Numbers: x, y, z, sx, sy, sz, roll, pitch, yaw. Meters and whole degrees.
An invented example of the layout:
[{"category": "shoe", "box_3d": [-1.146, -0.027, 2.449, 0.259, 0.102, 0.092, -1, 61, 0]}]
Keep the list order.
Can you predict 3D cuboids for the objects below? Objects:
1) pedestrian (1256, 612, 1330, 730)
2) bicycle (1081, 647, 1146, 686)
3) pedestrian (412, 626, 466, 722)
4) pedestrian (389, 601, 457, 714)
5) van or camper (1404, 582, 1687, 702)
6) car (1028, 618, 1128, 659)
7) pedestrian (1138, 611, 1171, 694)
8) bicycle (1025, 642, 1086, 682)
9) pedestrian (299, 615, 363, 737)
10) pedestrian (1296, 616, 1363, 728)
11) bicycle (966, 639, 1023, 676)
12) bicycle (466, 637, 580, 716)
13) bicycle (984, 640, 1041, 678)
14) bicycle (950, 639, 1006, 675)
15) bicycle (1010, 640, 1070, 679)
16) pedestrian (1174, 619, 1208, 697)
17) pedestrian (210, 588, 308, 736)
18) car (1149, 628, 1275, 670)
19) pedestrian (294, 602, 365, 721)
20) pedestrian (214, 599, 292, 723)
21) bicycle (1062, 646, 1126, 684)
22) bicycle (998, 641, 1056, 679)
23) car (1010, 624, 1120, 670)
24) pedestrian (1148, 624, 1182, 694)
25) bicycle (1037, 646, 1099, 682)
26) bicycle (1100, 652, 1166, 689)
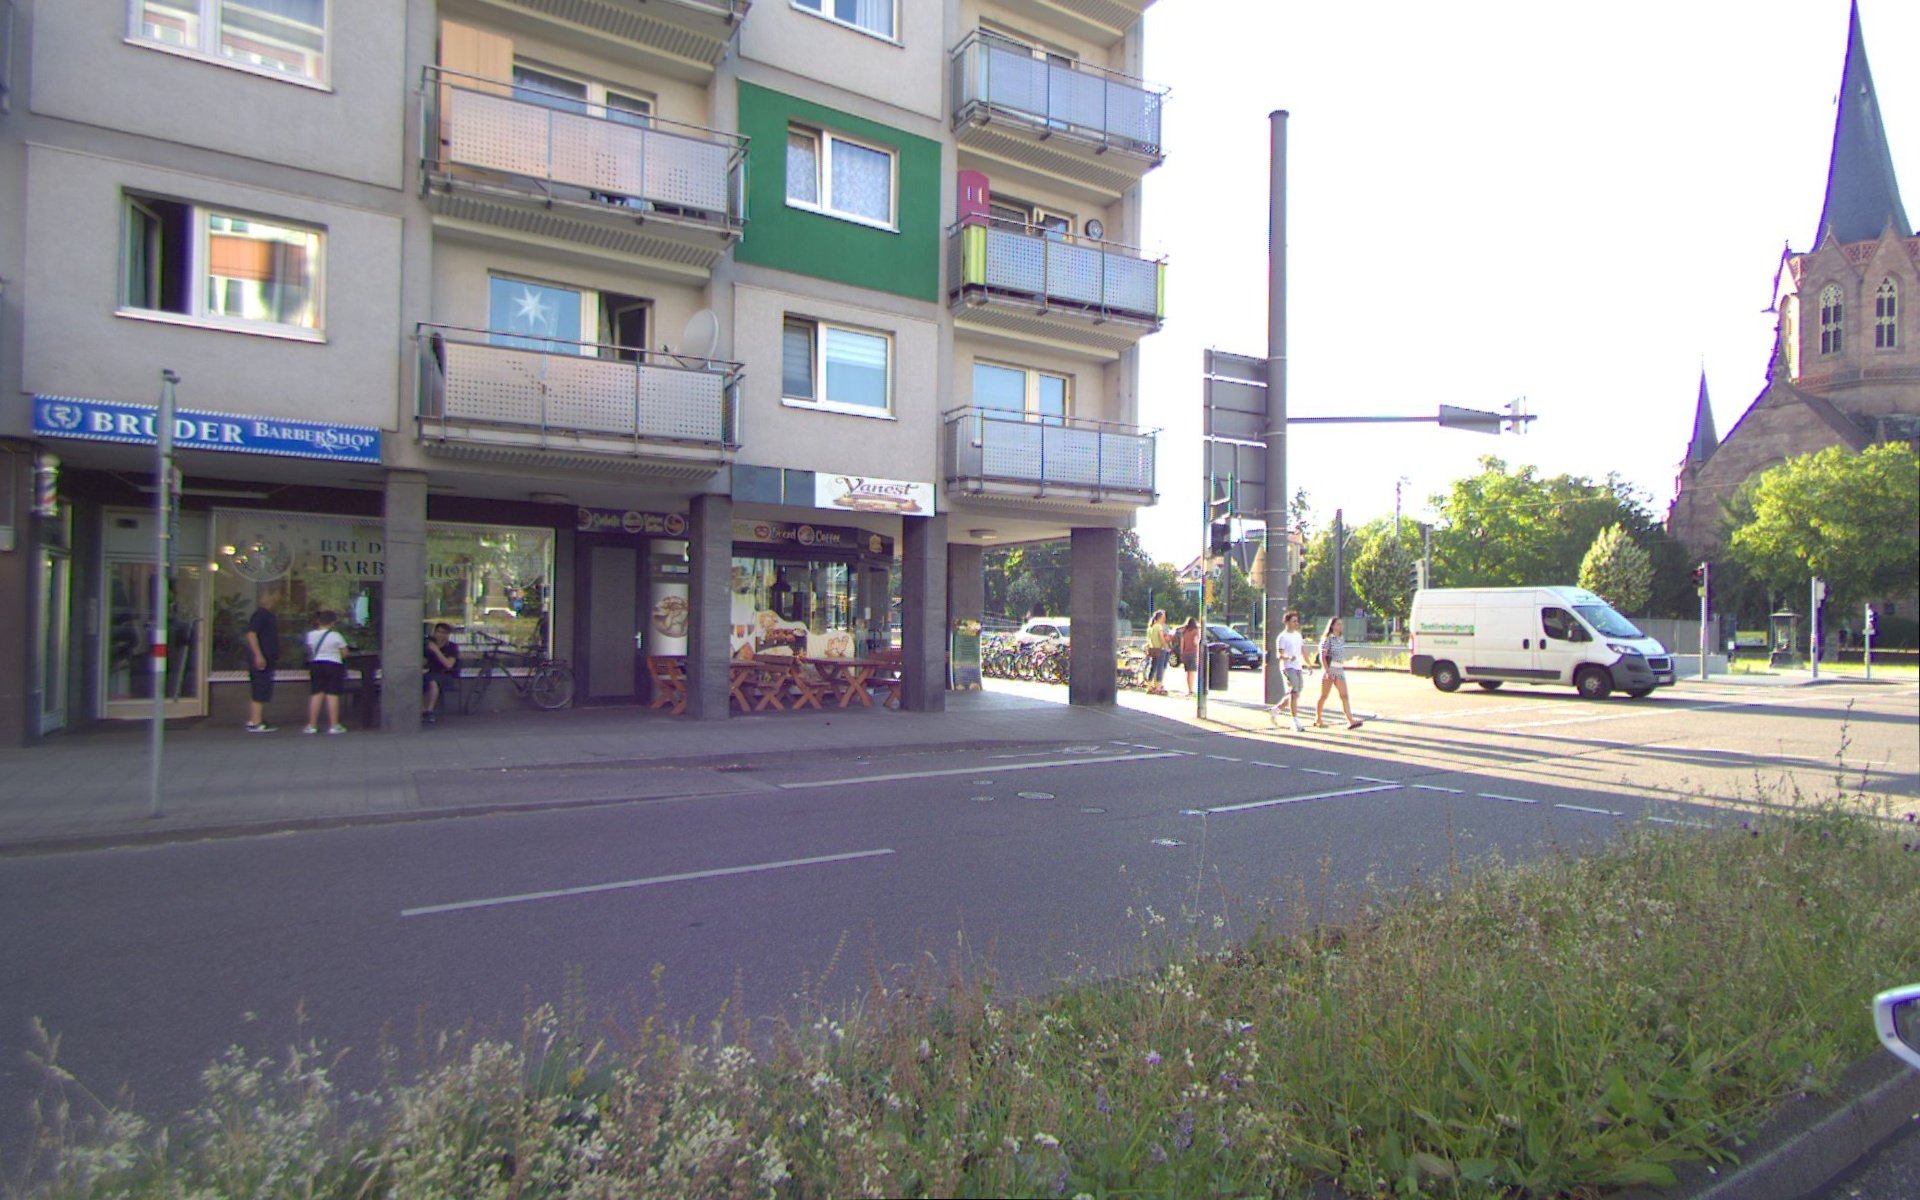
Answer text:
[{"category": "pedestrian", "box_3d": [5.198, 1.091, 15.725, 0.664, 1.781, 0.921, 1, -1, -22]}, {"category": "bicycle", "box_3d": [3.836, 1.651, 25.065, 1.684, 0.919, 0.493, 1, -1, -32]}, {"category": "pedestrian", "box_3d": [-7.051, 0.991, 13.604, 0.522, 1.256, 0.556, 1, -1, -16]}, {"category": "pedestrian", "box_3d": [-7.825, 0.821, 14.635, 0.780, 1.599, 0.557, 1, -1, -37]}, {"category": "van or camper", "box_3d": [13.363, 0.919, 23.365, 2.139, 2.448, 5.397, 1, -1, -29]}, {"category": "car", "box_3d": [5.061, 1.631, 43.561, 2.096, 1.694, 4.433, 1, -1, -30]}, {"category": "pedestrian", "box_3d": [4.239, 1.141, 21.931, 0.464, 1.792, 0.550, 1, -1, -29]}, {"category": "bicycle", "box_3d": [2.570, 1.659, 27.031, 1.684, 1.052, 0.493, 1, -1, -32]}, {"category": "pedestrian", "box_3d": [-7.454, 0.887, 11.913, 0.472, 1.402, 0.484, 1, -1, -11]}, {"category": "pedestrian", "box_3d": [5.869, 1.125, 15.979, 0.664, 1.731, 0.752, 1, -1, -22]}, {"category": "bicycle", "box_3d": [1.036, 1.682, 29.793, 0.491, 1.049, 1.928, 0, -2, 45]}, {"category": "bicycle", "box_3d": [-6.413, 1.113, 14.759, 1.441, 1.095, 0.584, 2, -2, -34]}, {"category": "bicycle", "box_3d": [1.524, 1.685, 29.007, 0.491, 1.049, 1.928, 0, -2, 45]}, {"category": "bicycle", "box_3d": [0.562, 1.719, 30.391, 0.491, 1.049, 1.928, 0, -2, 45]}, {"category": "bicycle", "box_3d": [2.211, 1.632, 27.707, 1.684, 1.044, 0.493, 1, -1, -32]}, {"category": "pedestrian", "box_3d": [4.991, 1.244, 21.737, 0.566, 1.663, 0.468, 1, -1, -11]}, {"category": "pedestrian", "box_3d": [-8.413, 0.726, 12.067, 0.764, 1.723, 0.561, 0, -1, 13]}, {"category": "car", "box_3d": [9.199, 1.768, 37.063, 1.938, 1.427, 4.461, 1, -1, -31]}, {"category": "pedestrian", "box_3d": [-8.747, 0.834, 13.956, 0.778, 1.599, 0.558, 1, -1, -30]}, {"category": "pedestrian", "box_3d": [-9.467, 0.805, 13.474, 0.778, 1.599, 0.558, 1, -1, -30]}, {"category": "bicycle", "box_3d": [3.411, 1.633, 25.532, 1.684, 0.919, 0.493, 1, -1, -32]}, {"category": "bicycle", "box_3d": [1.893, 1.673, 28.257, 1.684, 1.049, 0.493, 1, -1, -32]}, {"category": "car", "box_3d": [3.976, 1.757, 38.835, 1.938, 1.640, 4.461, 1, -1, -31]}, {"category": "pedestrian", "box_3d": [4.614, 1.308, 22.583, 0.570, 1.550, 0.465, 1, -1, -32]}, {"category": "bicycle", "box_3d": [2.840, 1.677, 26.451, 1.684, 0.919, 0.493, 1, -1, -32]}, {"category": "bicycle", "box_3d": [4.206, 1.695, 24.375, 1.684, 0.851, 0.493, 1, -1, -32]}]
